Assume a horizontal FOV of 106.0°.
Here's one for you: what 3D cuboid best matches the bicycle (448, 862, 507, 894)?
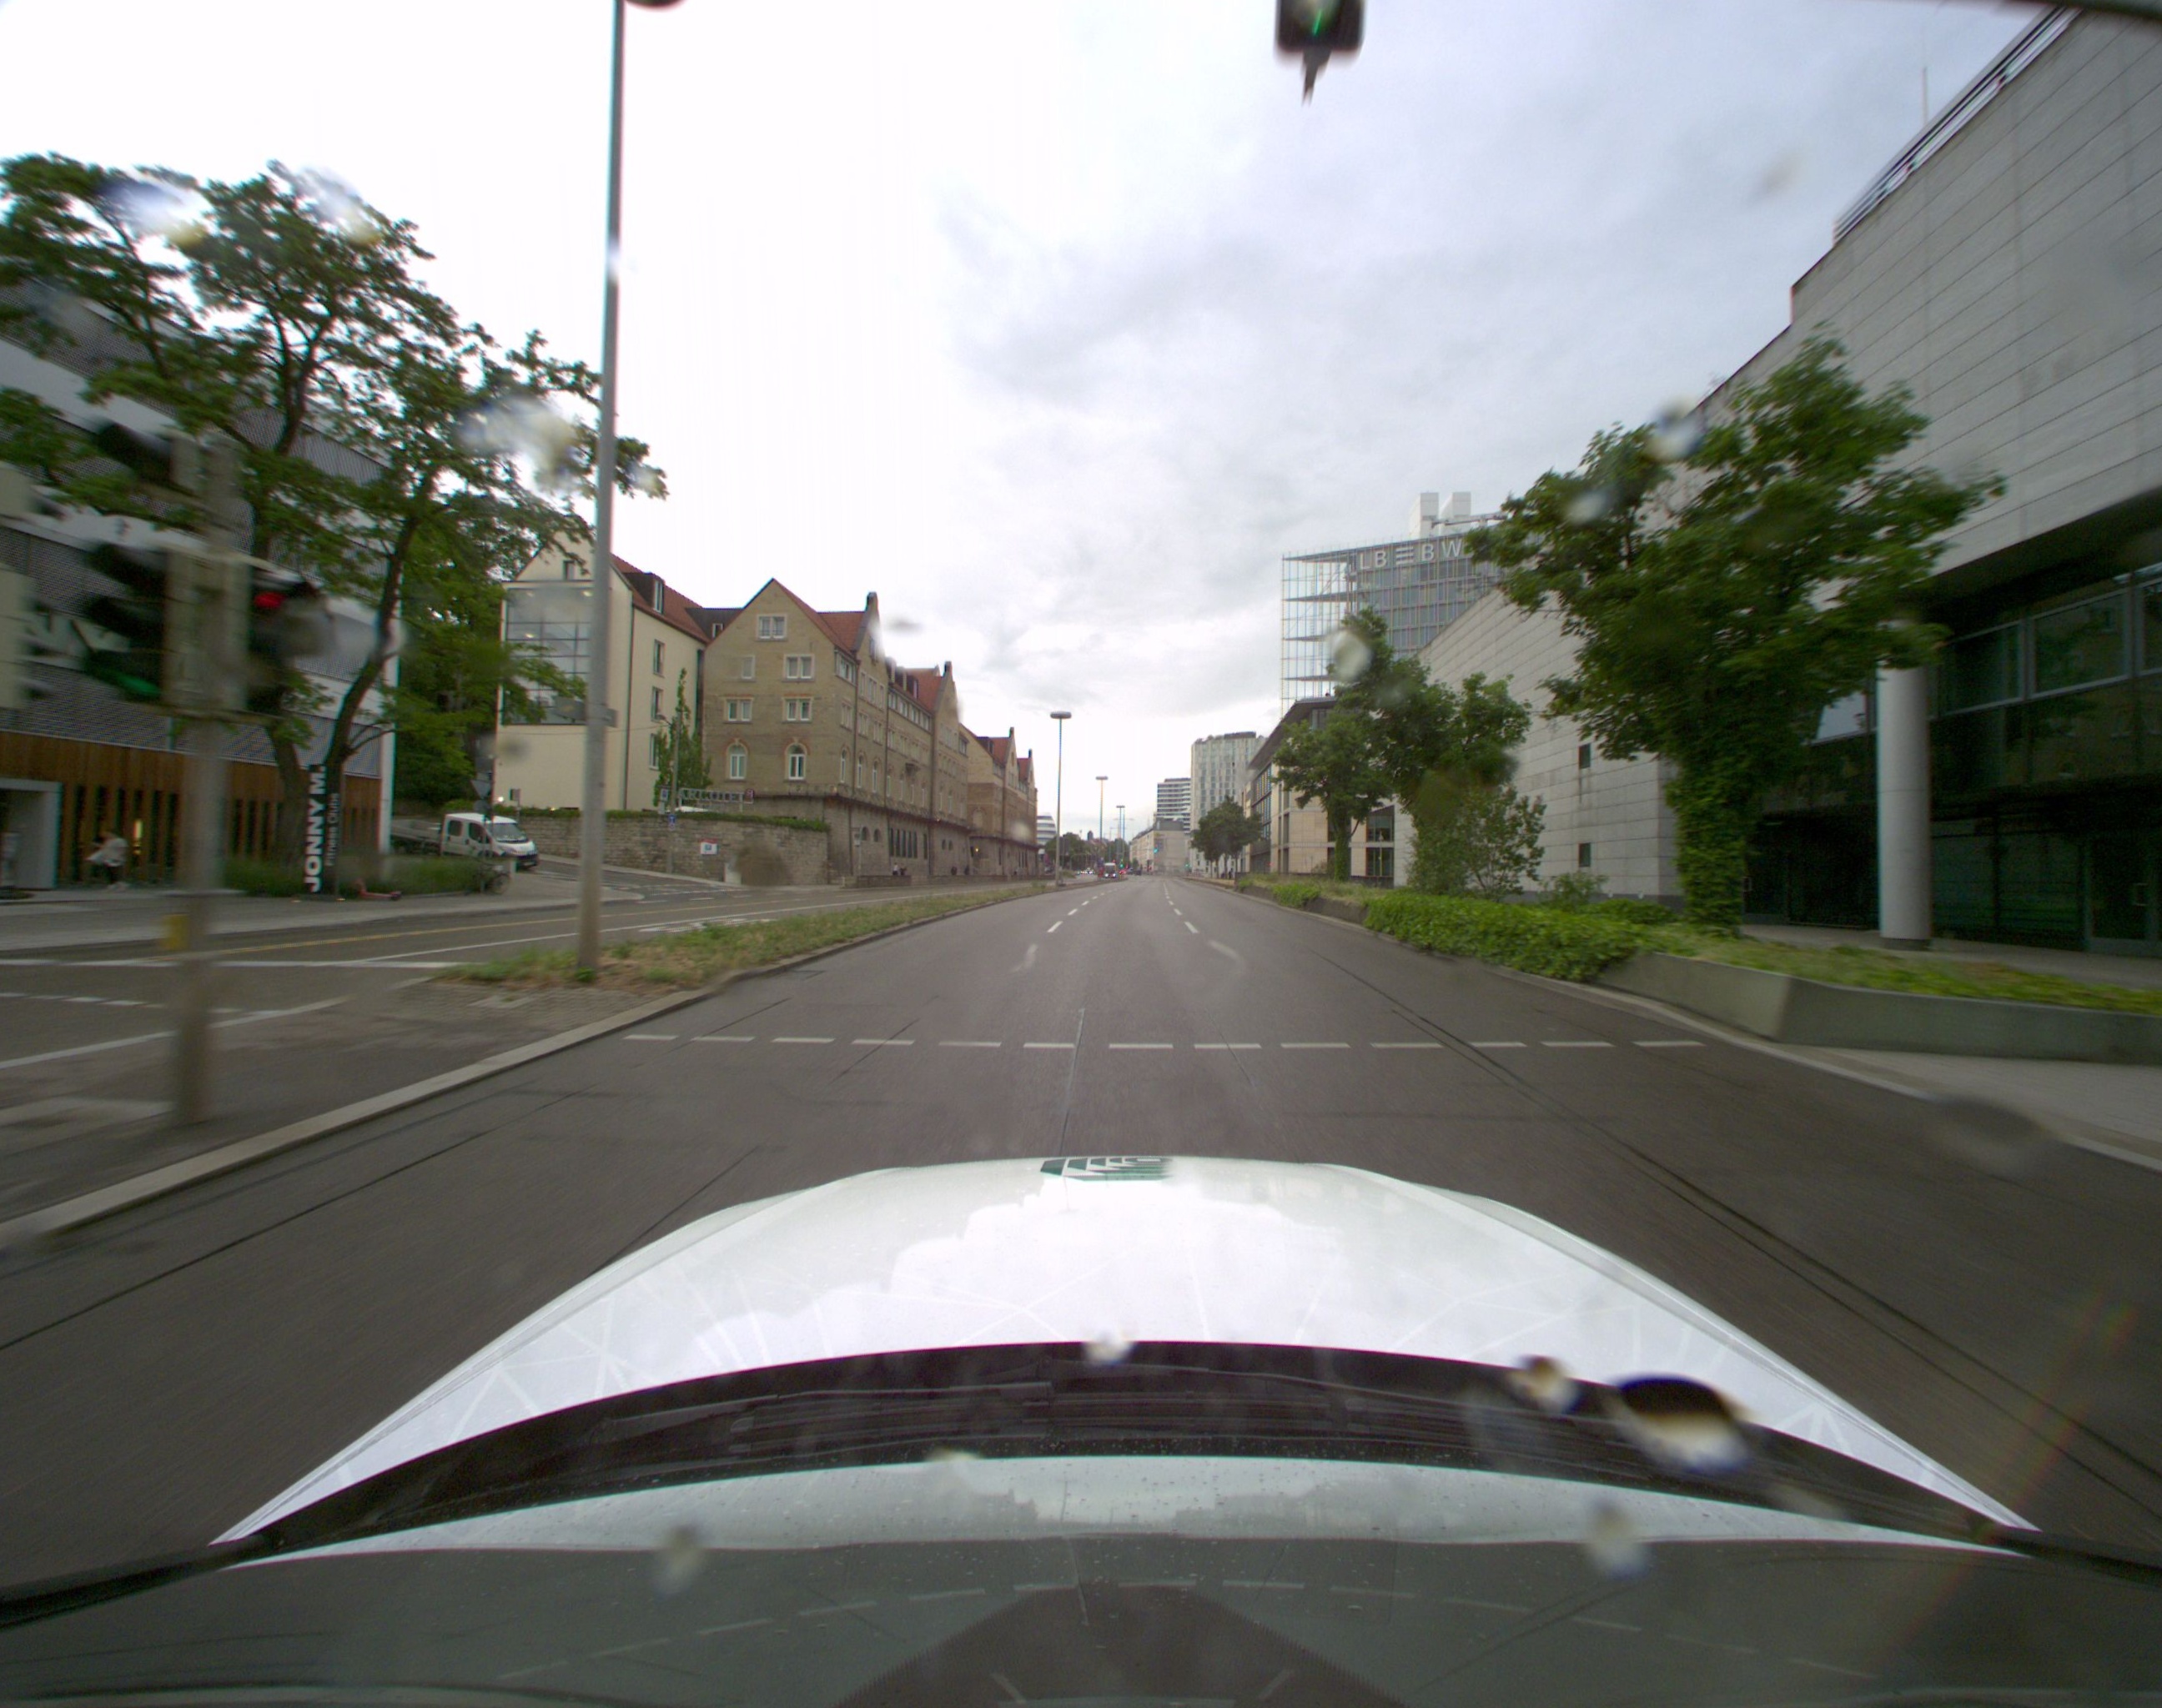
[{"bbox_3d":[-19.744,0.779,26.673,0.454,0.991,1.761,1,-1,6],"label":"bicycle"}]

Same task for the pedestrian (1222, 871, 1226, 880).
[{"bbox_3d":[25.265,3.730,143.877,0.544,1.578,0.675,-1,0,39],"label":"pedestrian"}]

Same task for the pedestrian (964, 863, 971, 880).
[{"bbox_3d":[-11.784,1.803,84.587,0.637,1.746,0.621,0,0,3],"label":"pedestrian"}]

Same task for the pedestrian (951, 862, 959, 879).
[{"bbox_3d":[-12.716,1.645,82.055,0.637,1.746,0.621,0,0,3],"label":"pedestrian"}]

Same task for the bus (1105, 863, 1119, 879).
[{"bbox_3d":[7.300,4.005,189.963,2.685,3.560,10.106,0,-2,5],"label":"bus"}]

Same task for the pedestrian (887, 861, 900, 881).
[{"bbox_3d":[-14.450,1.313,62.804,0.750,1.478,0.715,0,0,5],"label":"pedestrian"}]

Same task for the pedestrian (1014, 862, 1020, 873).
[{"bbox_3d":[-9.143,1.950,116.331,0.750,1.478,0.715,0,0,5],"label":"pedestrian"}]

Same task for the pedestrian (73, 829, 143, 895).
[{"bbox_3d":[-24.778,0.208,20.744,0.765,1.641,0.843,0,0,5],"label":"pedestrian"}]

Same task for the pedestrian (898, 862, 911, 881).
[{"bbox_3d":[-13.601,1.356,62.733,0.750,1.478,0.715,0,0,5],"label":"pedestrian"}]

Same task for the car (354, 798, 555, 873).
[{"bbox_3d":[-26.907,-0.846,35.130,6.869,2.274,2.519,7,3,6],"label":"car"}]

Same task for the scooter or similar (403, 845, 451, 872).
[{"bbox_3d":[-25.424,0.165,31.651,1.463,0.921,0.444,5,0,3],"label":"scooter or similar"}]

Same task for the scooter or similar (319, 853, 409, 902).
[{"bbox_3d":[-19.753,0.648,22.475,1.758,1.247,0.367,4,-2,-24],"label":"scooter or similar"}]
